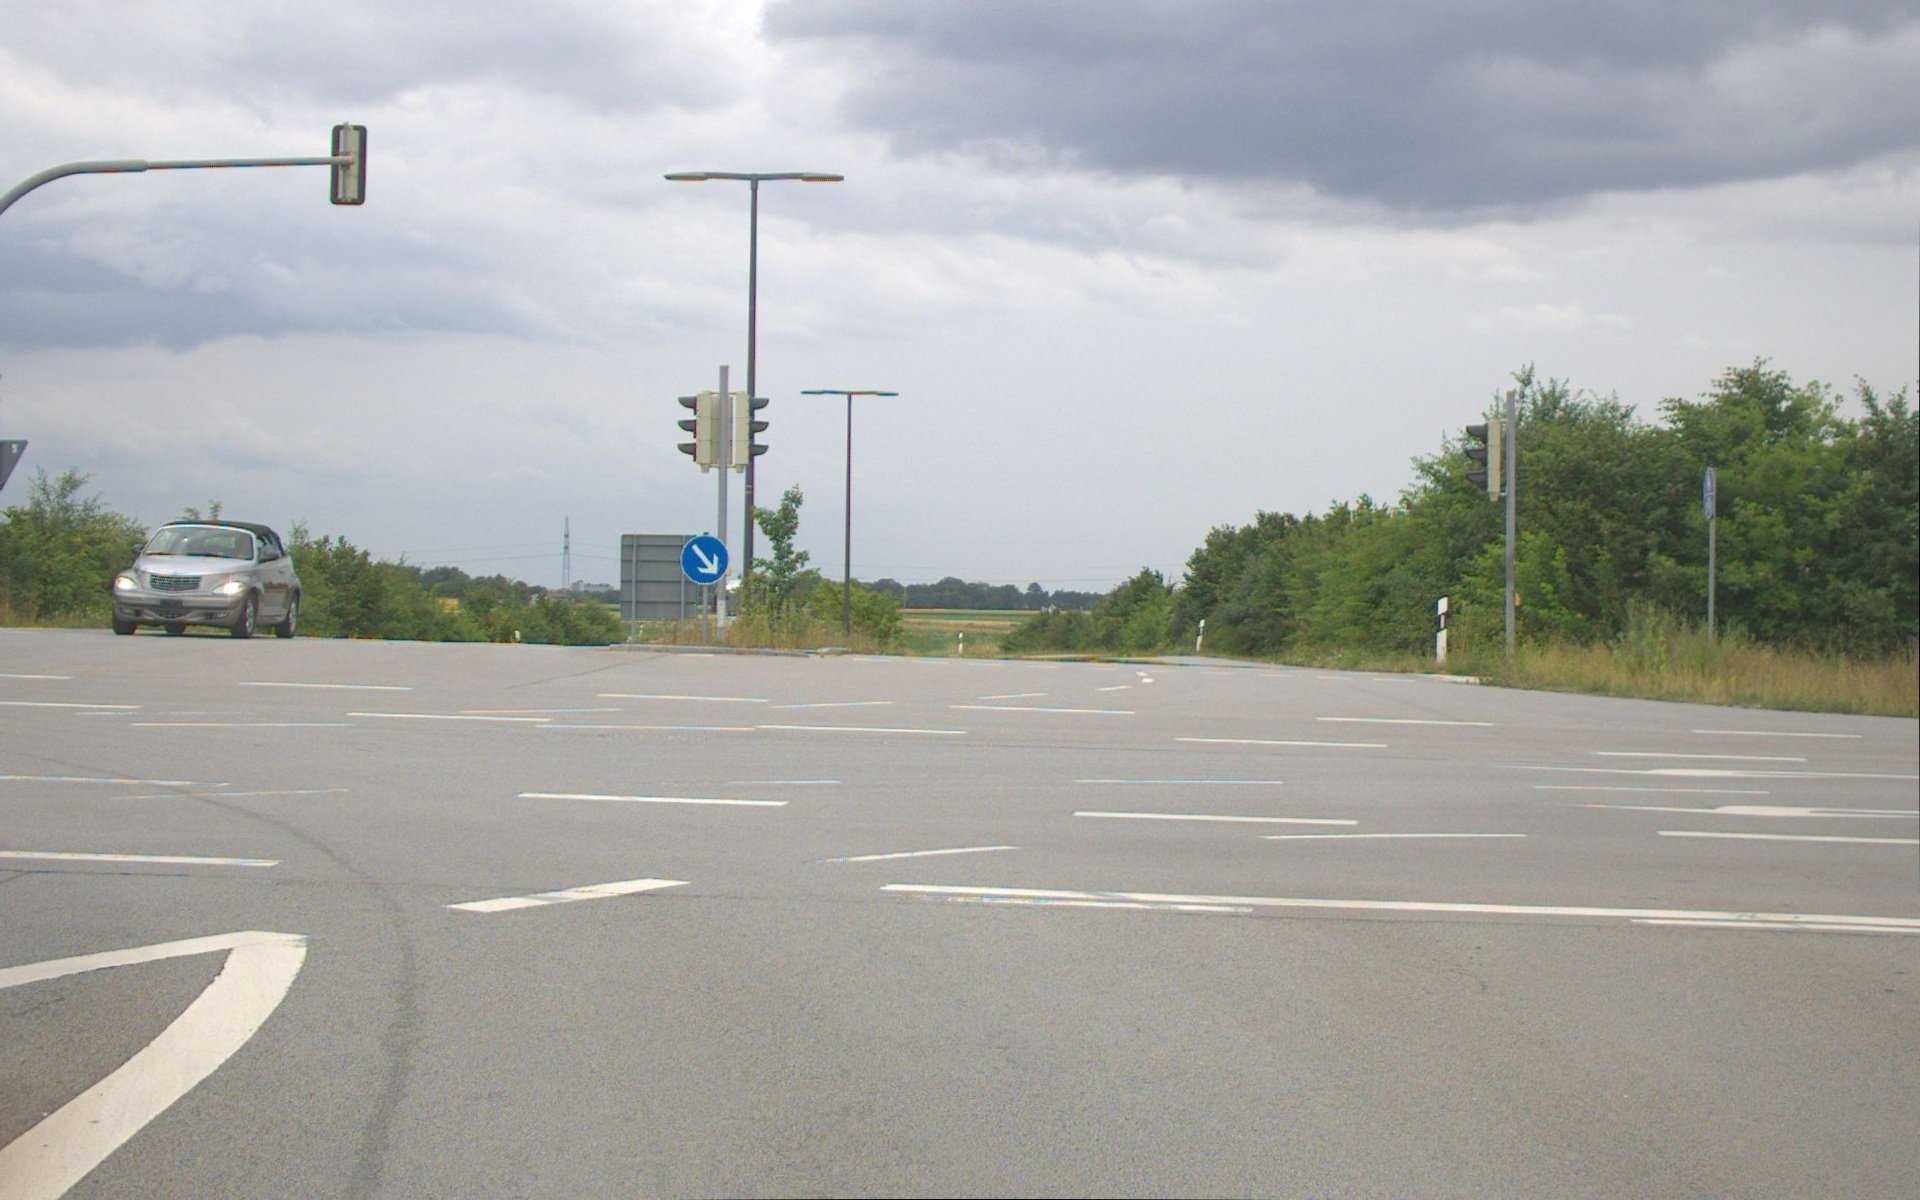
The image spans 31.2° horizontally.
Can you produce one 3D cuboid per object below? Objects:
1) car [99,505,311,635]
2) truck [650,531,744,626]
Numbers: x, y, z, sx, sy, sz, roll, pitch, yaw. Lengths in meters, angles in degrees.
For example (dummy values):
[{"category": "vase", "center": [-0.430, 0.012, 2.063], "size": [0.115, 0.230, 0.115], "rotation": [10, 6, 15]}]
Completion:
[{"category": "car", "center": [-9.637, -0.431, 44.193], "size": [1.810, 1.515, 4.243], "rotation": [2, 2, -1]}, {"category": "truck", "center": [-9.918, -0.757, 130.401], "size": [2.869, 3.396, 8.650], "rotation": [1, -1, 0]}]
